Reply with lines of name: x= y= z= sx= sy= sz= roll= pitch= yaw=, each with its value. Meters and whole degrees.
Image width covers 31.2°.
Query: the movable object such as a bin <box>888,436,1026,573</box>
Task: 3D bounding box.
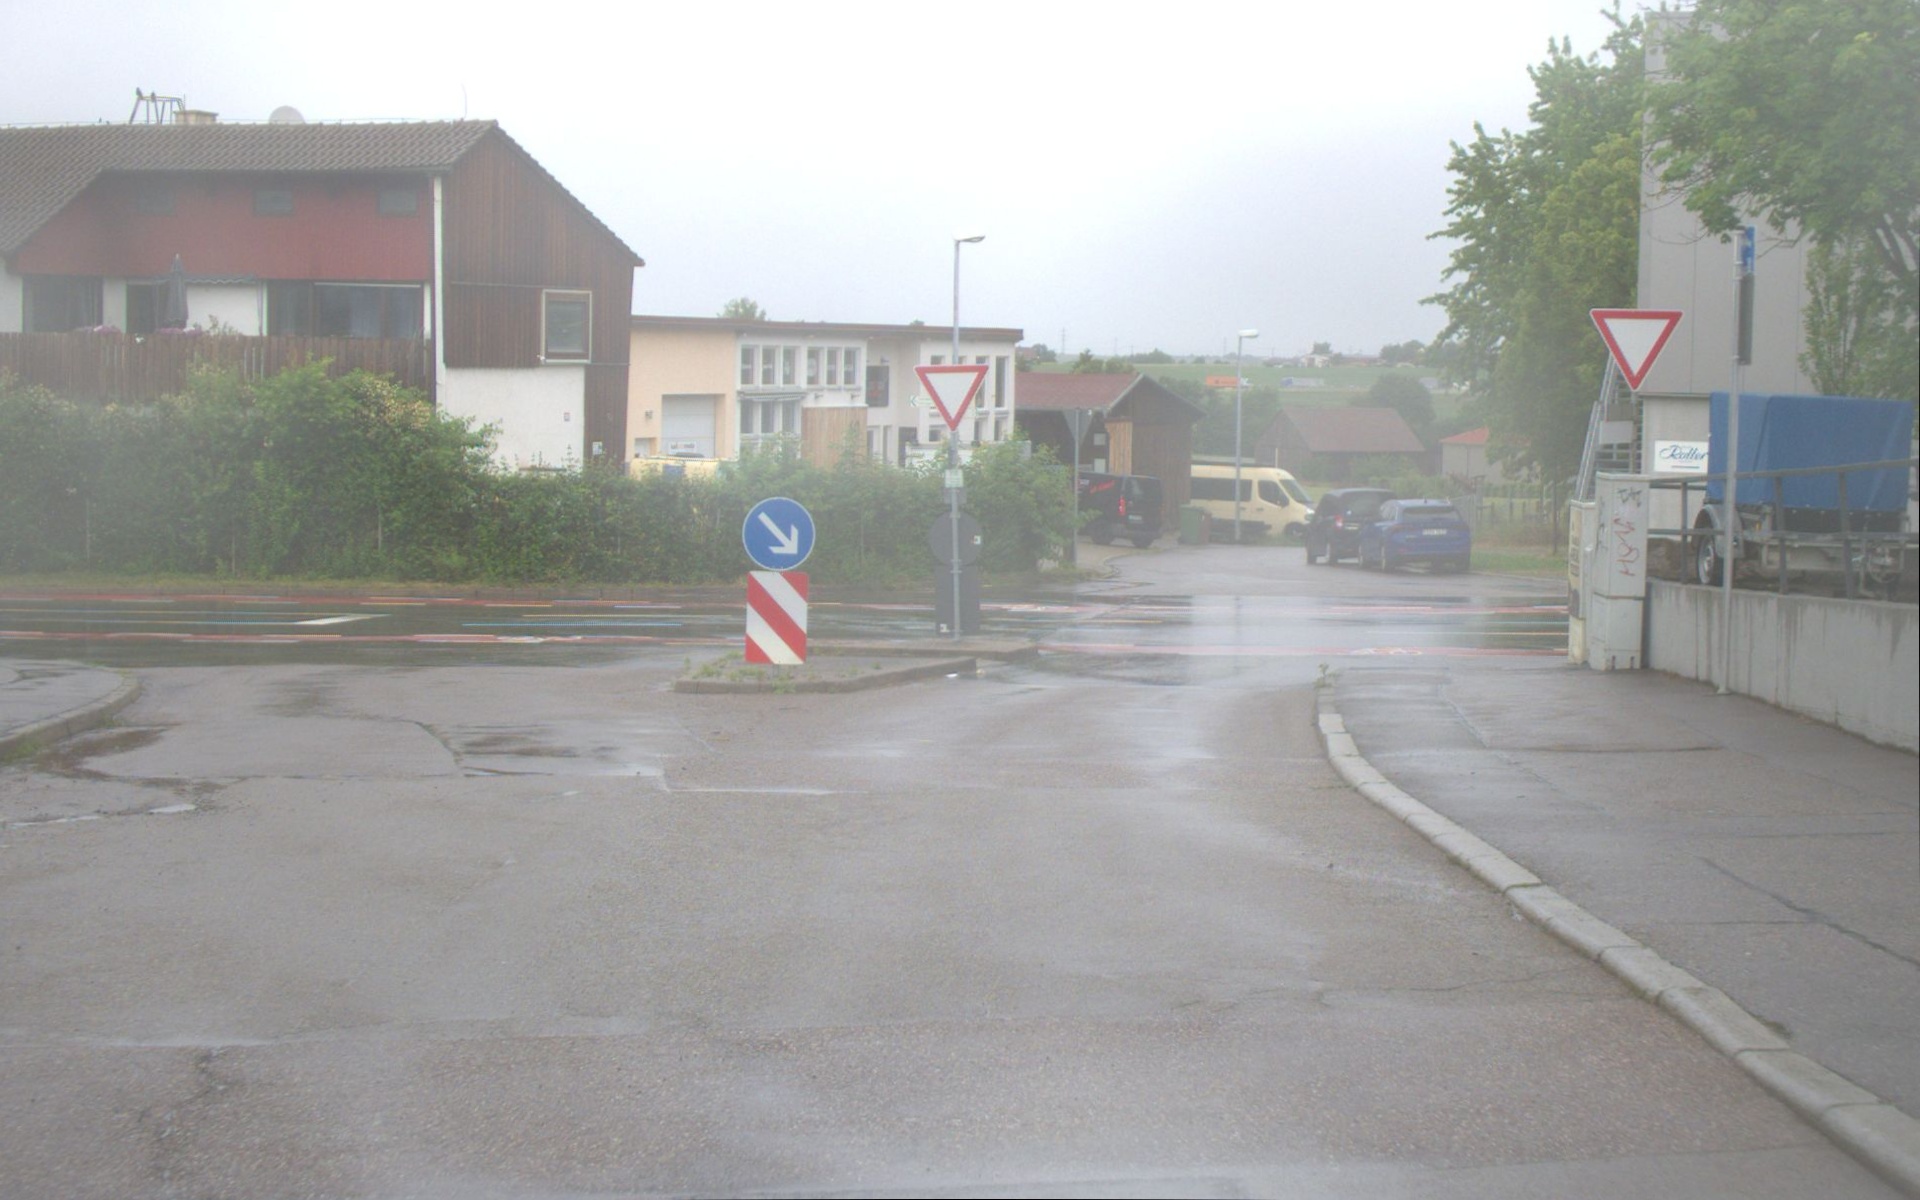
movable object such as a bin: x=-0.035 y=-1.828 z=66.011 sx=1.734 sy=2.547 sz=3.337 roll=1 pitch=1 yaw=17

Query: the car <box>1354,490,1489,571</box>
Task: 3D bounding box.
car: x=9.469 y=-1.439 z=70.905 sx=1.951 sy=1.604 sz=4.447 roll=0 pitch=1 yaw=-3

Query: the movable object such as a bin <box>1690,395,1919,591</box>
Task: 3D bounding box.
movable object such as a bin: x=6.733 y=-0.846 z=27.426 sx=1.306 sy=1.495 sz=1.859 roll=0 pitch=1 yaw=-4

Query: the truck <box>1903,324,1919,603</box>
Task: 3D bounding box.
truck: x=8.451 y=-1.016 z=24.857 sx=2.106 sy=2.206 sz=5.652 roll=1 pitch=1 yaw=5

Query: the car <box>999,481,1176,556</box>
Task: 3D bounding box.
car: x=3.274 y=-2.134 z=89.223 sx=1.995 sy=1.898 sz=4.407 roll=-1 pitch=2 yaw=-45

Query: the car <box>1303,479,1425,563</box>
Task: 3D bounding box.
car: x=9.028 y=-1.775 z=77.214 sx=2.074 sy=1.828 sz=4.471 roll=1 pitch=1 yaw=-2

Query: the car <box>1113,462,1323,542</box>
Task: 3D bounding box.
car: x=8.008 y=-3.033 z=106.651 sx=6.016 sy=2.406 sz=2.460 roll=1 pitch=1 yaw=23
